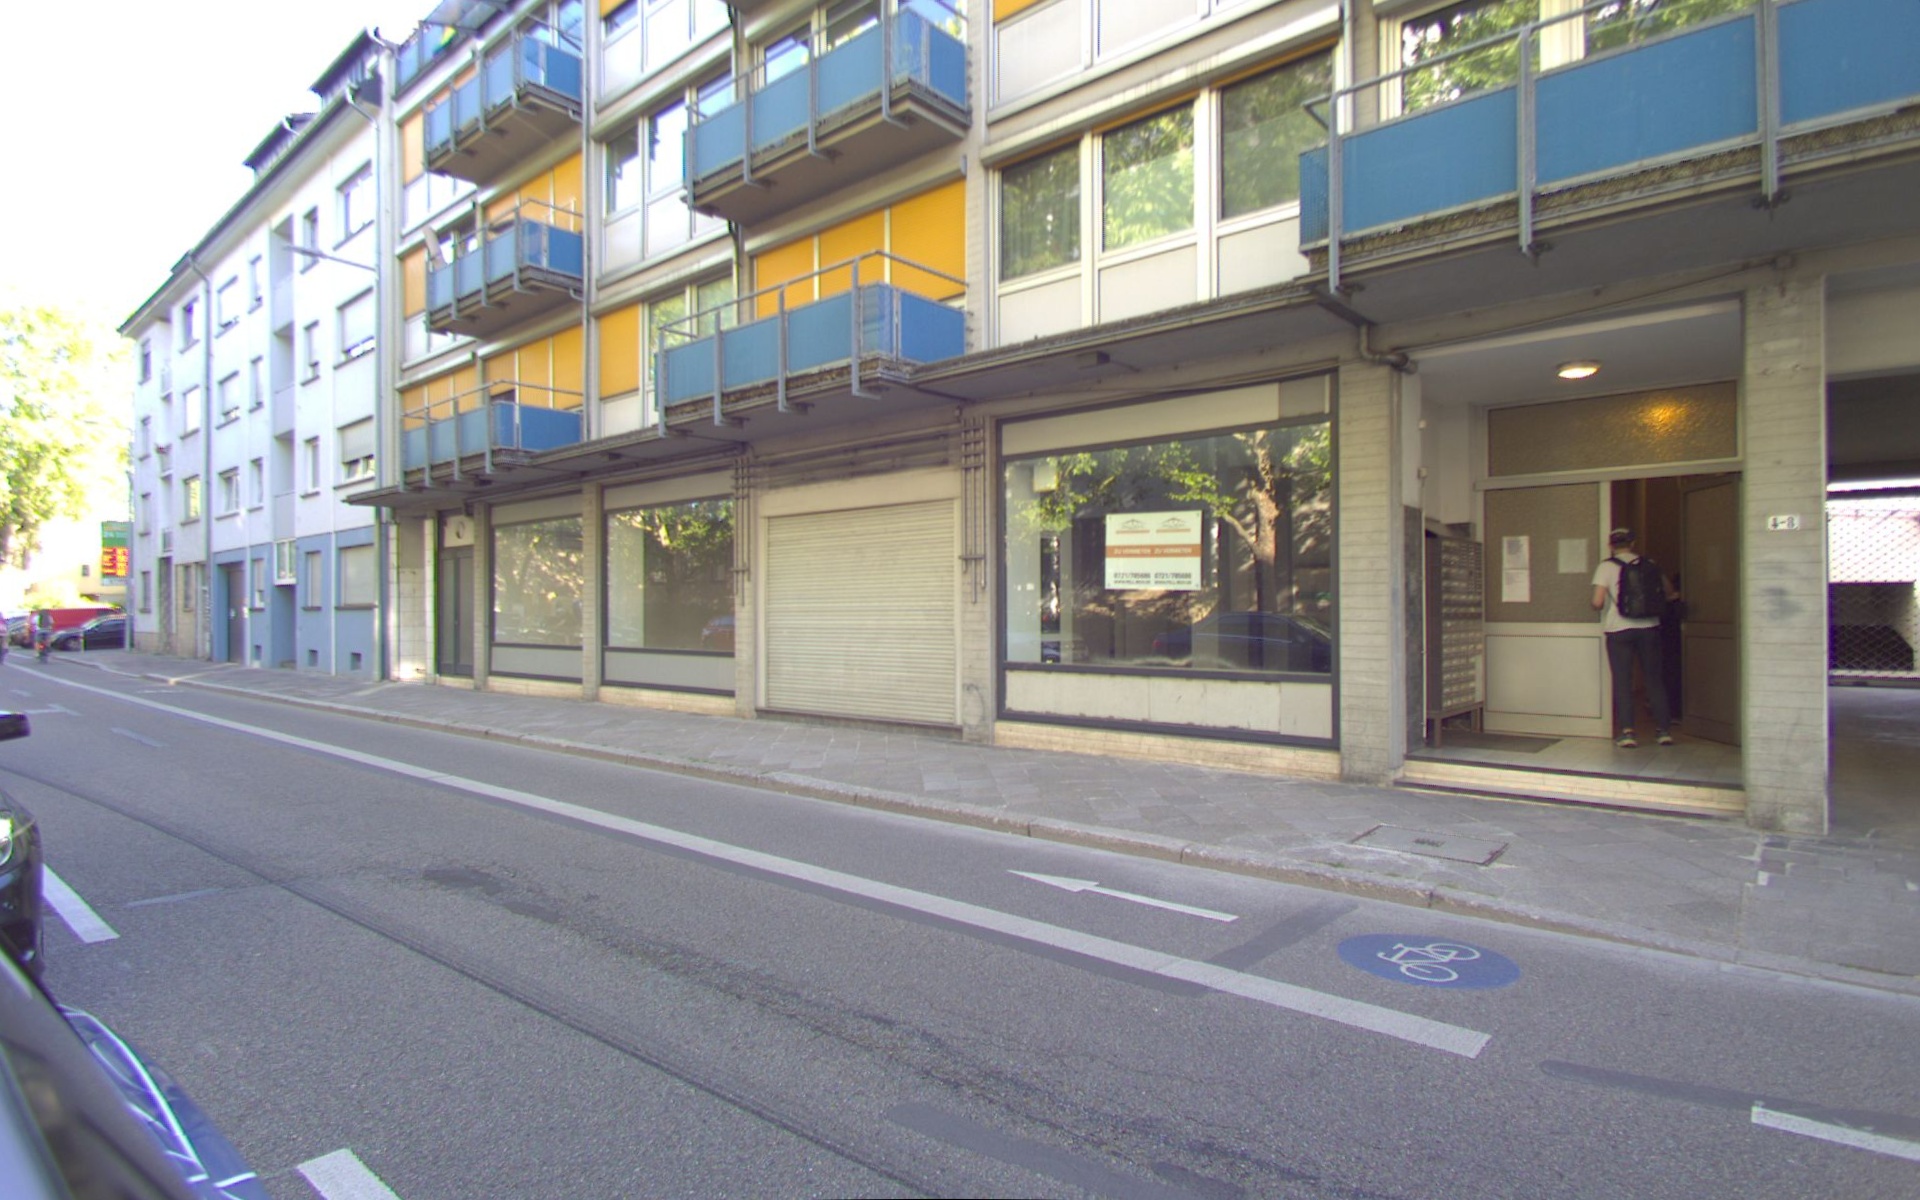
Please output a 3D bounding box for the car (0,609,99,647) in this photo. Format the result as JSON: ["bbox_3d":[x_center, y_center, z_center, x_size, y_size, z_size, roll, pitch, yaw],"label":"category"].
[{"bbox_3d":[-55.417,1.667,61.156,1.999,2.210,4.927,-1,-1,41],"label":"car"}]

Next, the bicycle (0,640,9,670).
[{"bbox_3d":[-31.961,1.816,33.457,1.864,0.936,0.685,-1,-1,45],"label":"bicycle"}]

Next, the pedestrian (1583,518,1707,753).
[{"bbox_3d":[5.623,0.263,8.304,0.865,1.813,0.602,-2,0,-40],"label":"pedestrian"}]

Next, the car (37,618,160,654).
[{"bbox_3d":[-39.766,1.629,46.788,1.999,1.506,4.093,-1,-1,41],"label":"car"}]

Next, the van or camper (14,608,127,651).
[{"bbox_3d":[-43.903,1.427,50.015,1.999,2.029,3.946,-1,-1,40],"label":"van or camper"}]

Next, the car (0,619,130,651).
[{"bbox_3d":[-45.736,1.747,51.707,1.999,1.506,4.927,-1,-1,41],"label":"car"}]

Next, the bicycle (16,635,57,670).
[{"bbox_3d":[-31.199,1.756,34.170,1.836,1.087,0.853,-1,-1,42],"label":"bicycle"}]

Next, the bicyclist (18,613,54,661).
[{"bbox_3d":[-31.187,1.232,34.150,0.839,1.566,0.833,-1,-1,42],"label":"bicyclist"}]

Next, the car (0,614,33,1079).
[{"bbox_3d":[-5.005,0.812,3.849,3.861,1.467,1.718,-1,-1,40],"label":"car"}]

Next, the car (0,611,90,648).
[{"bbox_3d":[-57.411,1.817,62.865,1.999,2.210,4.927,-1,-1,41],"label":"car"}]

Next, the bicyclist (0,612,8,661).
[{"bbox_3d":[-32.042,1.209,33.546,0.982,1.590,0.677,-2,-1,44],"label":"bicyclist"}]

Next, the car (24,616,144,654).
[{"bbox_3d":[-41.647,1.617,48.173,1.999,1.703,4.093,-1,-1,41],"label":"car"}]

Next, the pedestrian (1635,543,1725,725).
[{"bbox_3d":[7.125,0.327,10.016,0.661,1.726,0.541,-1,-1,40],"label":"pedestrian"}]

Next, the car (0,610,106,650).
[{"bbox_3d":[-53.330,1.732,59.205,1.999,2.210,4.927,-1,-1,41],"label":"car"}]
